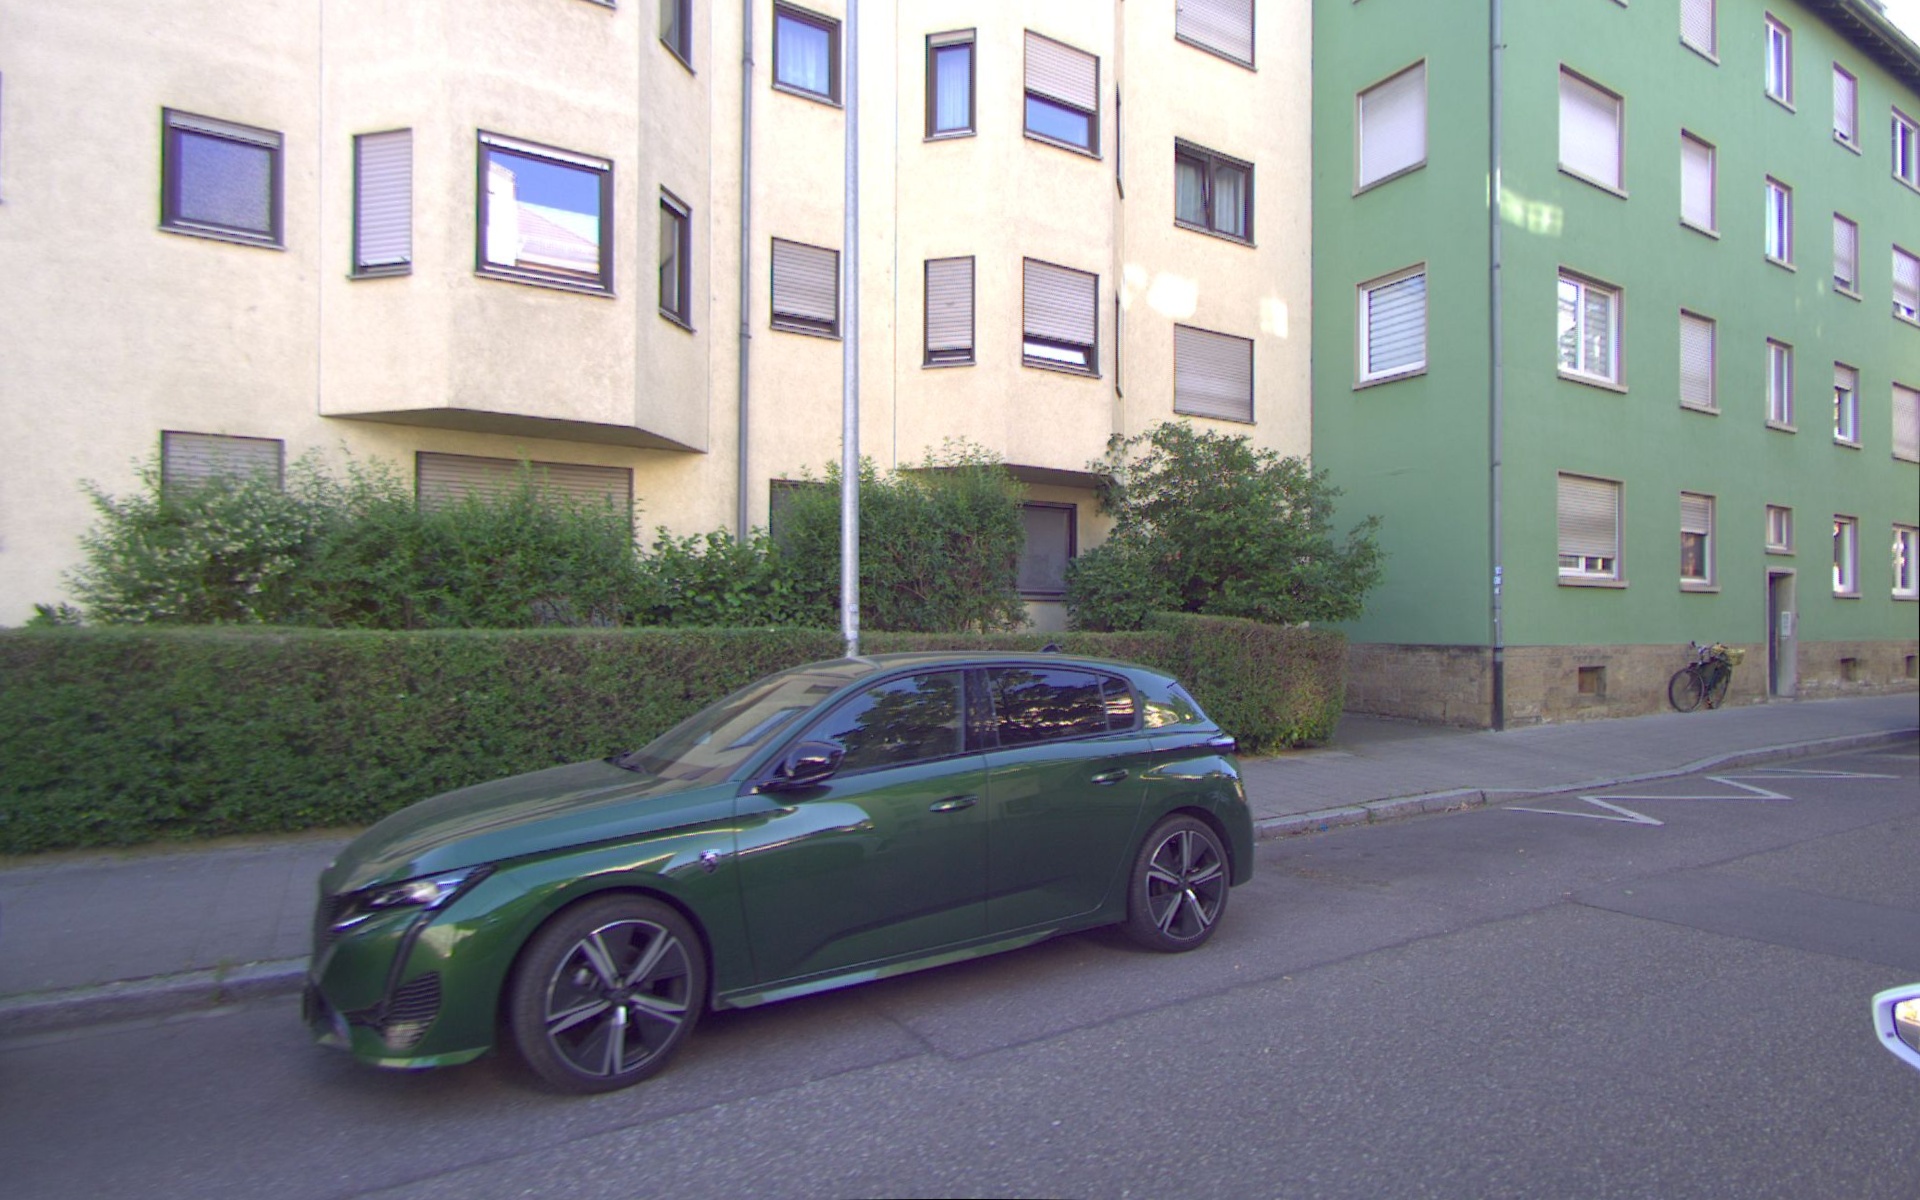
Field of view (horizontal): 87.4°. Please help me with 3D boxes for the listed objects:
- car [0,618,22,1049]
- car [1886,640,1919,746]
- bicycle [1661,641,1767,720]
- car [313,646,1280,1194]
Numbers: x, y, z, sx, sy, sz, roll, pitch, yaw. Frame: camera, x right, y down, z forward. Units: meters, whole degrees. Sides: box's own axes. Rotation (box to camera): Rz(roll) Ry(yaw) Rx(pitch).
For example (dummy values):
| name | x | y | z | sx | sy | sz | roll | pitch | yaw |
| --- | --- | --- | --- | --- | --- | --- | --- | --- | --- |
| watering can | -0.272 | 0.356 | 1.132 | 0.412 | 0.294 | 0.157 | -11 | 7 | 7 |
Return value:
| name | x | y | z | sx | sy | sz | roll | pitch | yaw |
| --- | --- | --- | --- | --- | --- | --- | --- | --- | --- |
| car | -4.914 | 0.830 | 2.160 | 3.962 | 1.681 | 1.891 | 2 | -4 | -36 |
| car | 15.426 | 1.282 | 14.618 | 4.072 | 1.474 | 1.967 | 1 | -5 | -35 |
| bicycle | 12.503 | 1.296 | 16.628 | 2.252 | 1.194 | 0.548 | 1 | 1 | -31 |
| car | -0.574 | 1.005 | 4.716 | 4.090 | 1.516 | 1.743 | 1 | -4 | -33 |
